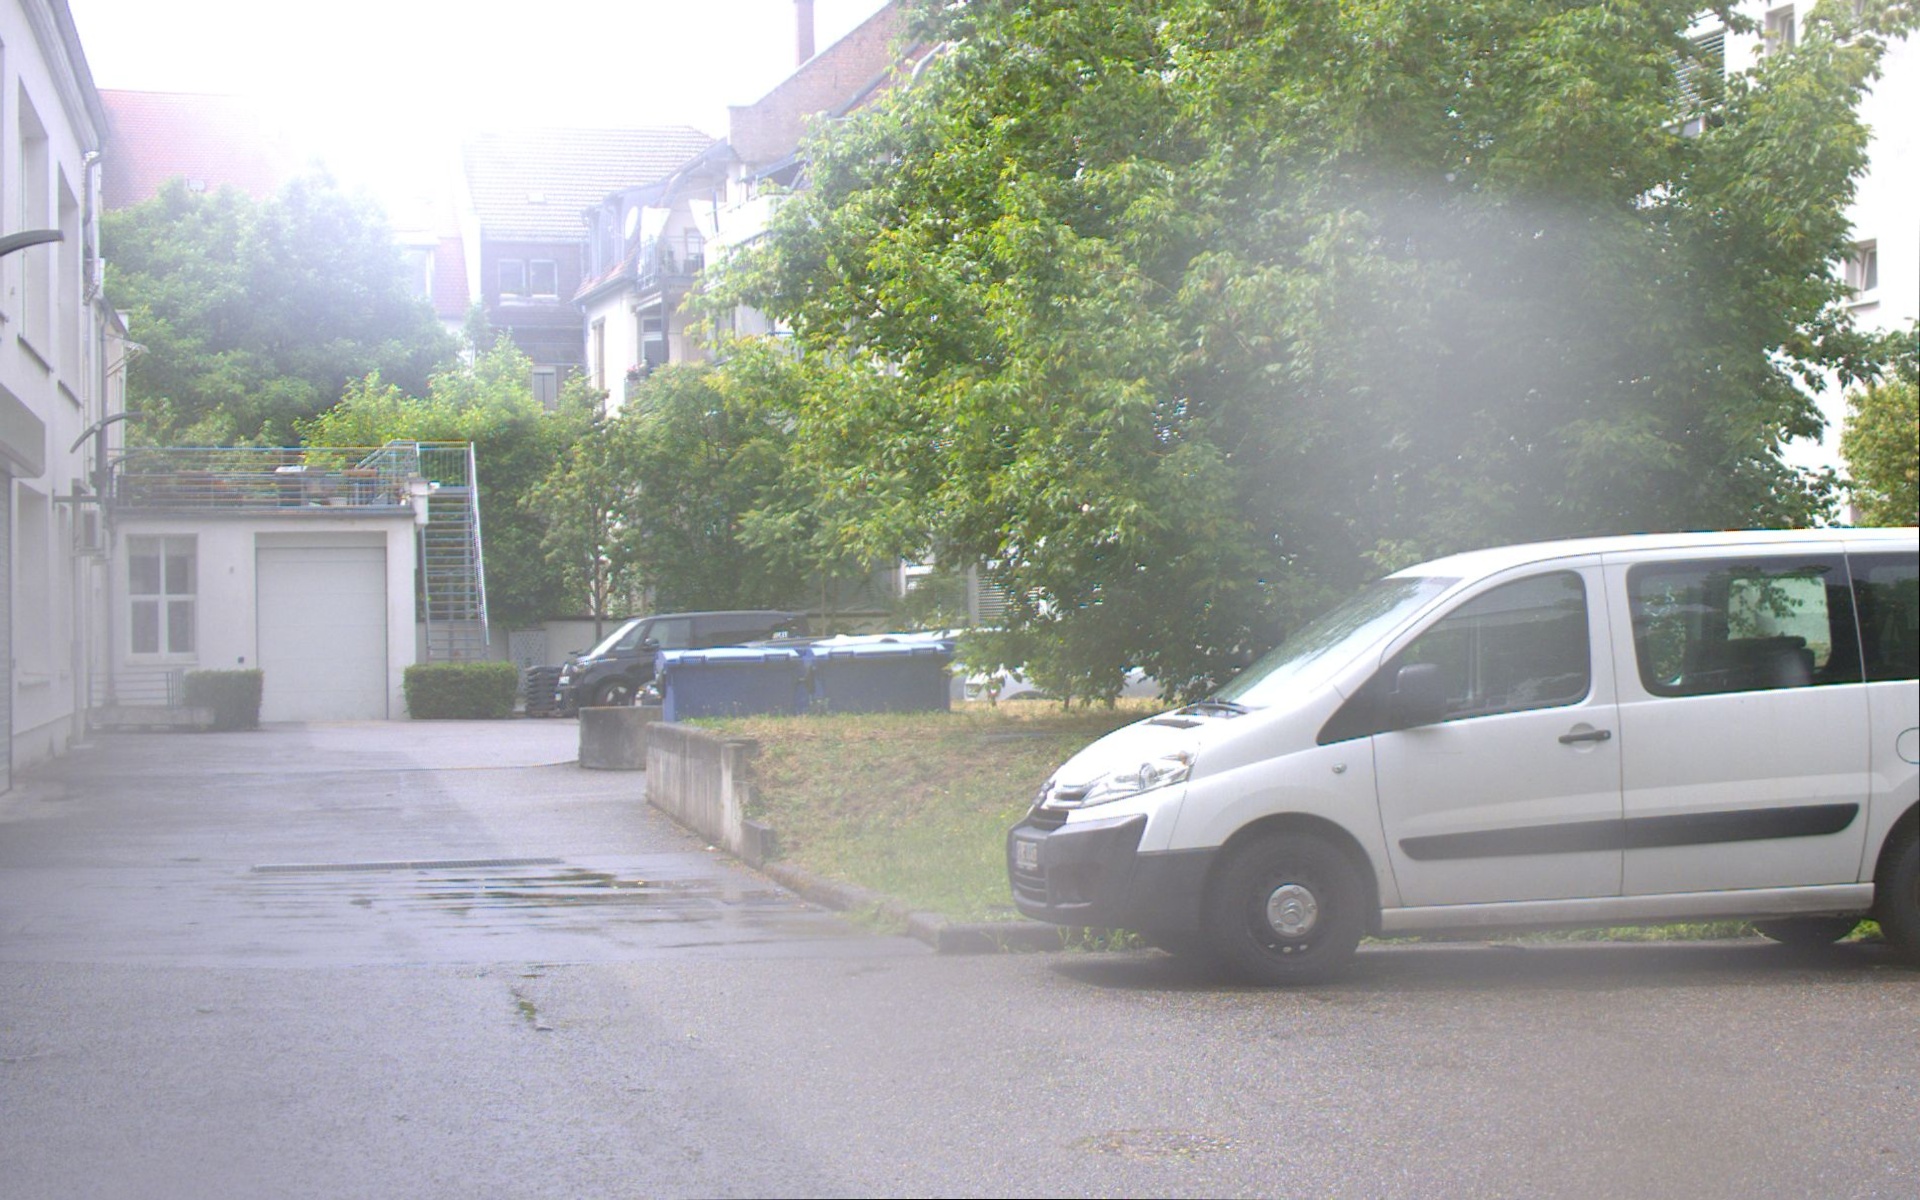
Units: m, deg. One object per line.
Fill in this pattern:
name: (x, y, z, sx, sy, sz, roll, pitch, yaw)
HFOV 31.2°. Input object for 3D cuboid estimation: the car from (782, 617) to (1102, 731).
car: (-0.268, 1.009, 47.804, 4.096, 1.450, 1.833, -1, 0, -15)

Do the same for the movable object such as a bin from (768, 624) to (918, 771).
movable object such as a bin: (-1.100, 0.901, 32.157, 1.229, 1.313, 1.056, -1, 0, -12)

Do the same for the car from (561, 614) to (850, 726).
car: (-4.525, 1.214, 60.888, 4.708, 1.827, 2.111, -1, 0, -18)

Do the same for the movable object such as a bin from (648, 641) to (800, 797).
movable object such as a bin: (-2.085, 1.040, 30.308, 1.174, 1.313, 1.056, 1, 0, -12)

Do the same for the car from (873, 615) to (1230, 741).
car: (1.120, 0.961, 42.499, 4.078, 1.453, 1.668, -1, -1, -15)

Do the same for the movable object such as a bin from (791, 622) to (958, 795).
movable object such as a bin: (-0.767, 0.952, 30.522, 1.274, 1.478, 1.102, 1, 0, -12)

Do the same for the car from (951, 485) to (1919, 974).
car: (2.544, 0.558, 15.458, 4.935, 2.007, 2.000, 0, -1, -8)

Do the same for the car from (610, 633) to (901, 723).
car: (-3.305, 1.234, 55.393, 4.352, 1.344, 1.861, -1, 0, -18)

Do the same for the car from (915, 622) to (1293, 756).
car: (1.632, 1.004, 39.647, 3.986, 1.350, 1.791, -2, 0, -12)
